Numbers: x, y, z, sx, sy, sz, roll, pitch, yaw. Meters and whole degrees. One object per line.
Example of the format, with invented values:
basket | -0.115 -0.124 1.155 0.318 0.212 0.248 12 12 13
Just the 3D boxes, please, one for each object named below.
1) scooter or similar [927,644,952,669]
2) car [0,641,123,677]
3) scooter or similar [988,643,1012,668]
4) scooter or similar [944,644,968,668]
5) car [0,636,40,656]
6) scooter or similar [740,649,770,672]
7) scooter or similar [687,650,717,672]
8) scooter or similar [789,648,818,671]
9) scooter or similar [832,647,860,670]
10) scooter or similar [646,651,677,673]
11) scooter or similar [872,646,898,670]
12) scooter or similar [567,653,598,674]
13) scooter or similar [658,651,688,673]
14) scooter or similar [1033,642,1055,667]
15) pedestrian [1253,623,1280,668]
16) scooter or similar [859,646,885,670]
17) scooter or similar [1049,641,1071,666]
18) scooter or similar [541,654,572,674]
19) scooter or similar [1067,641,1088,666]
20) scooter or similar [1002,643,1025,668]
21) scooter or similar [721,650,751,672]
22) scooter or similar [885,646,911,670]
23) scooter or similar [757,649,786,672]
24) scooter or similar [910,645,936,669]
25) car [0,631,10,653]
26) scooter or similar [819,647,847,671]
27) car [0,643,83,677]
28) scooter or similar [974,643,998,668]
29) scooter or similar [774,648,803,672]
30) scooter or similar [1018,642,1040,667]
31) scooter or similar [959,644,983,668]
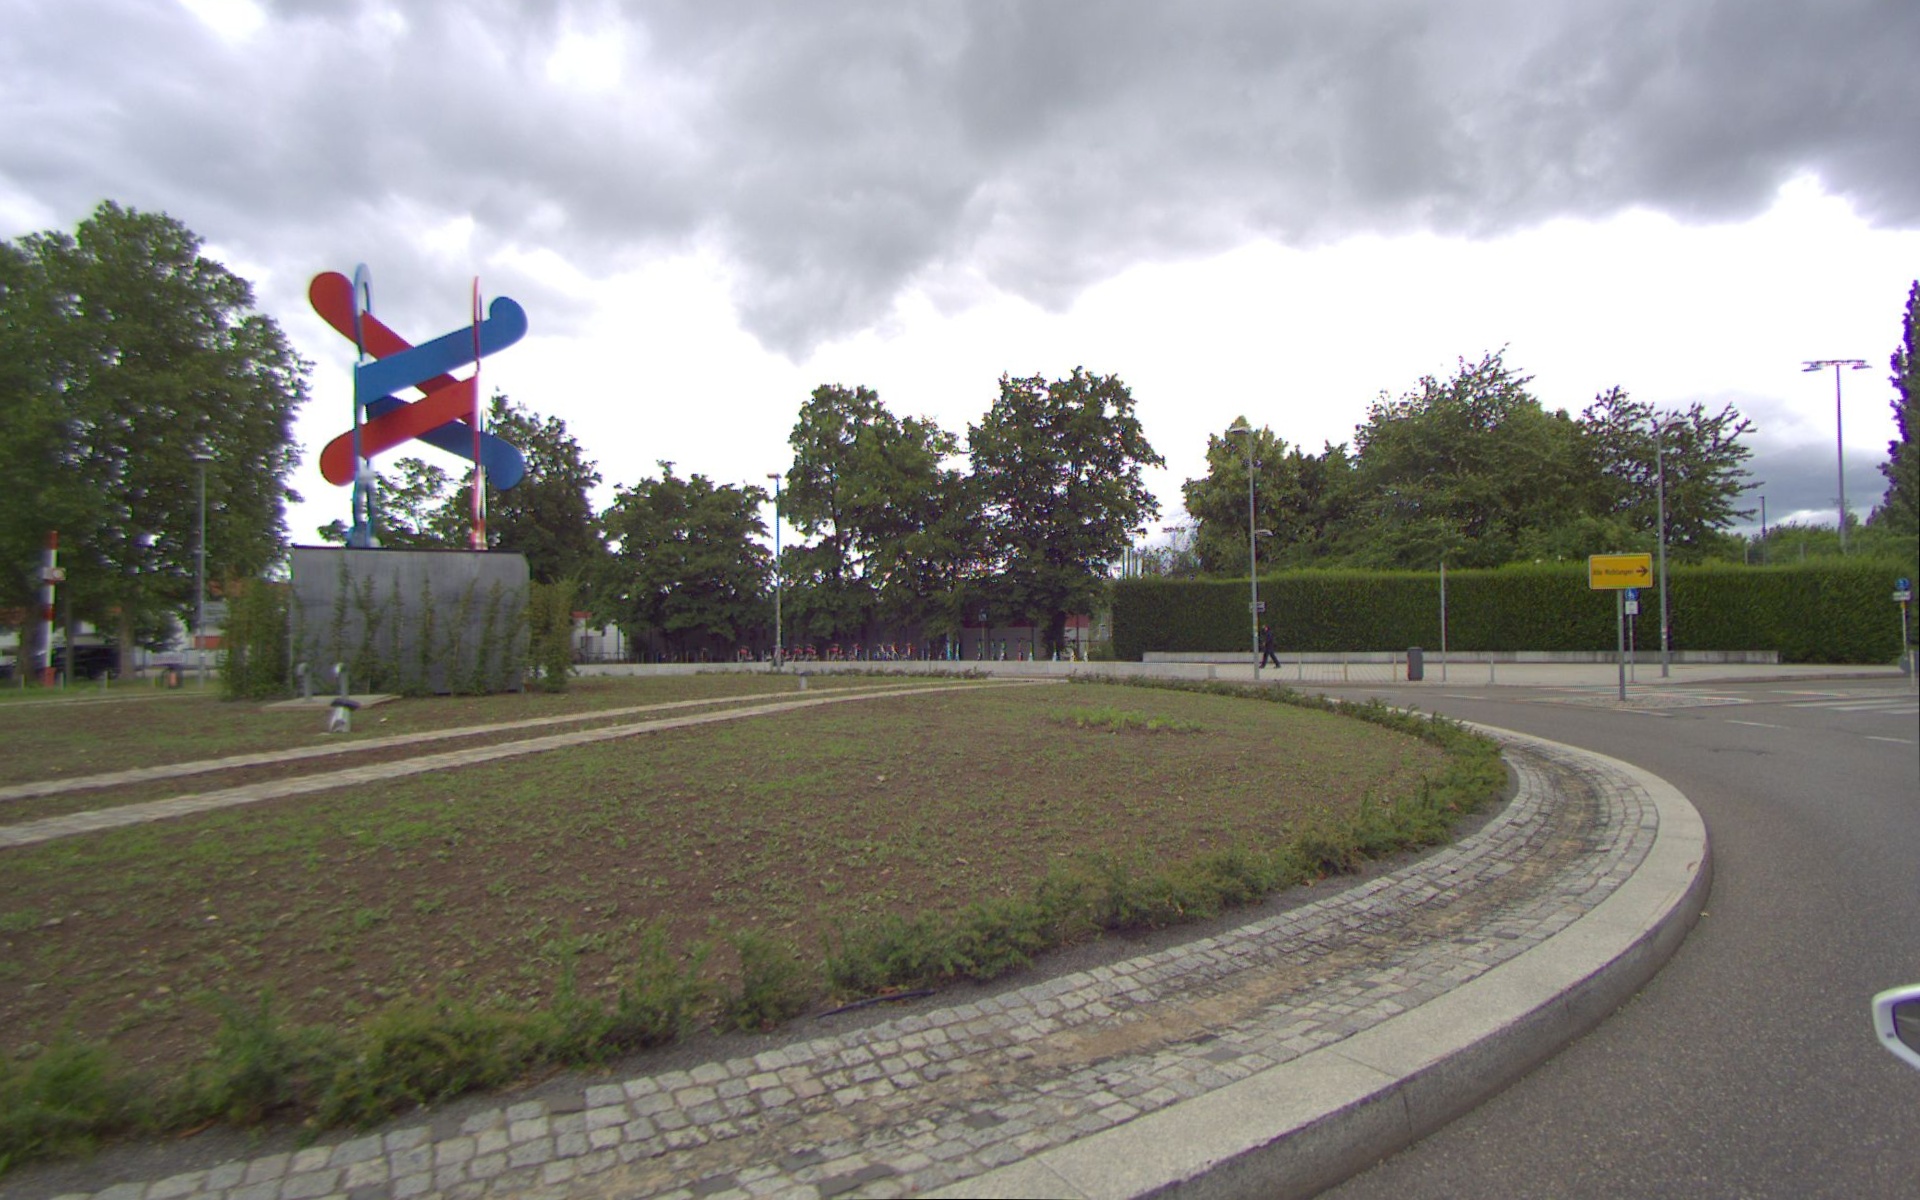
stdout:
scooter or similar | -1.008 2.772 49.521 0.628 1.124 1.976 -2 -2 17
car | -49.329 3.196 55.223 1.972 1.750 4.814 -2 -2 18
scooter or similar | 1.948 2.674 48.600 0.628 1.124 1.976 -2 -2 17
scooter or similar | -0.189 2.747 49.277 0.628 1.124 1.976 -2 -2 17
car | -83.433 4.055 87.866 1.761 1.673 3.958 -2 -2 17
scooter or similar | -10.741 3.181 52.681 0.628 1.124 1.976 -2 -2 17
scooter or similar | -14.214 3.361 55.349 0.628 1.124 1.976 -2 -2 17
scooter or similar | -8.050 3.058 51.749 0.628 1.124 1.976 -2 -2 17
scooter or similar | -5.781 2.960 50.980 0.628 1.124 1.976 -2 -2 17
scooter or similar | -16.569 3.449 55.773 0.628 1.124 1.976 -2 -2 17
scooter or similar | -3.748 2.883 50.357 0.628 1.124 1.976 -2 -2 17
scooter or similar | -22.021 3.690 58.639 0.628 1.124 1.976 -2 -2 17
scooter or similar | -15.840 3.405 55.539 0.628 1.124 1.976 -2 -2 17
scooter or similar | 4.023 2.580 48.012 0.628 1.124 1.976 -2 -2 17
pedestrian | 12.653 1.868 41.428 0.851 1.831 0.791 -2 -2 31
scooter or similar | -4.417 2.909 50.554 0.628 1.124 1.976 -2 -2 17
scooter or similar | 4.777 2.549 47.787 0.628 1.124 1.976 -2 -2 17
scooter or similar | -23.880 3.778 59.504 0.628 1.124 1.976 -2 -2 17
scooter or similar | 5.566 2.531 47.538 0.628 1.124 1.976 -2 -2 17
scooter or similar | 2.610 2.649 48.412 0.628 1.124 1.976 -2 -2 17
scooter or similar | -11.890 3.227 53.319 0.628 1.124 1.976 -2 -2 17
scooter or similar | -3.081 2.864 50.157 0.628 1.124 1.976 -2 -2 17
scooter or similar | -9.827 3.142 52.408 0.628 1.124 1.976 -2 -2 17
scooter or similar | -1.817 2.797 49.747 0.628 1.124 1.976 -2 -2 17
car | -77.069 3.302 78.077 1.761 1.673 4.438 -2 -2 17
scooter or similar | -6.461 3.008 51.166 0.628 1.124 1.976 -2 -2 17
car | -51.671 3.325 55.632 1.972 1.750 4.293 -2 -2 17
scooter or similar | 1.278 2.695 48.787 0.628 1.124 1.976 -2 -2 17
scooter or similar | -8.878 3.091 52.025 0.628 1.124 1.976 -2 -2 17
scooter or similar | 3.325 2.614 48.190 0.628 1.124 1.976 -2 -2 17
scooter or similar | 0.566 2.717 49.036 0.628 1.124 1.976 -2 -2 17
